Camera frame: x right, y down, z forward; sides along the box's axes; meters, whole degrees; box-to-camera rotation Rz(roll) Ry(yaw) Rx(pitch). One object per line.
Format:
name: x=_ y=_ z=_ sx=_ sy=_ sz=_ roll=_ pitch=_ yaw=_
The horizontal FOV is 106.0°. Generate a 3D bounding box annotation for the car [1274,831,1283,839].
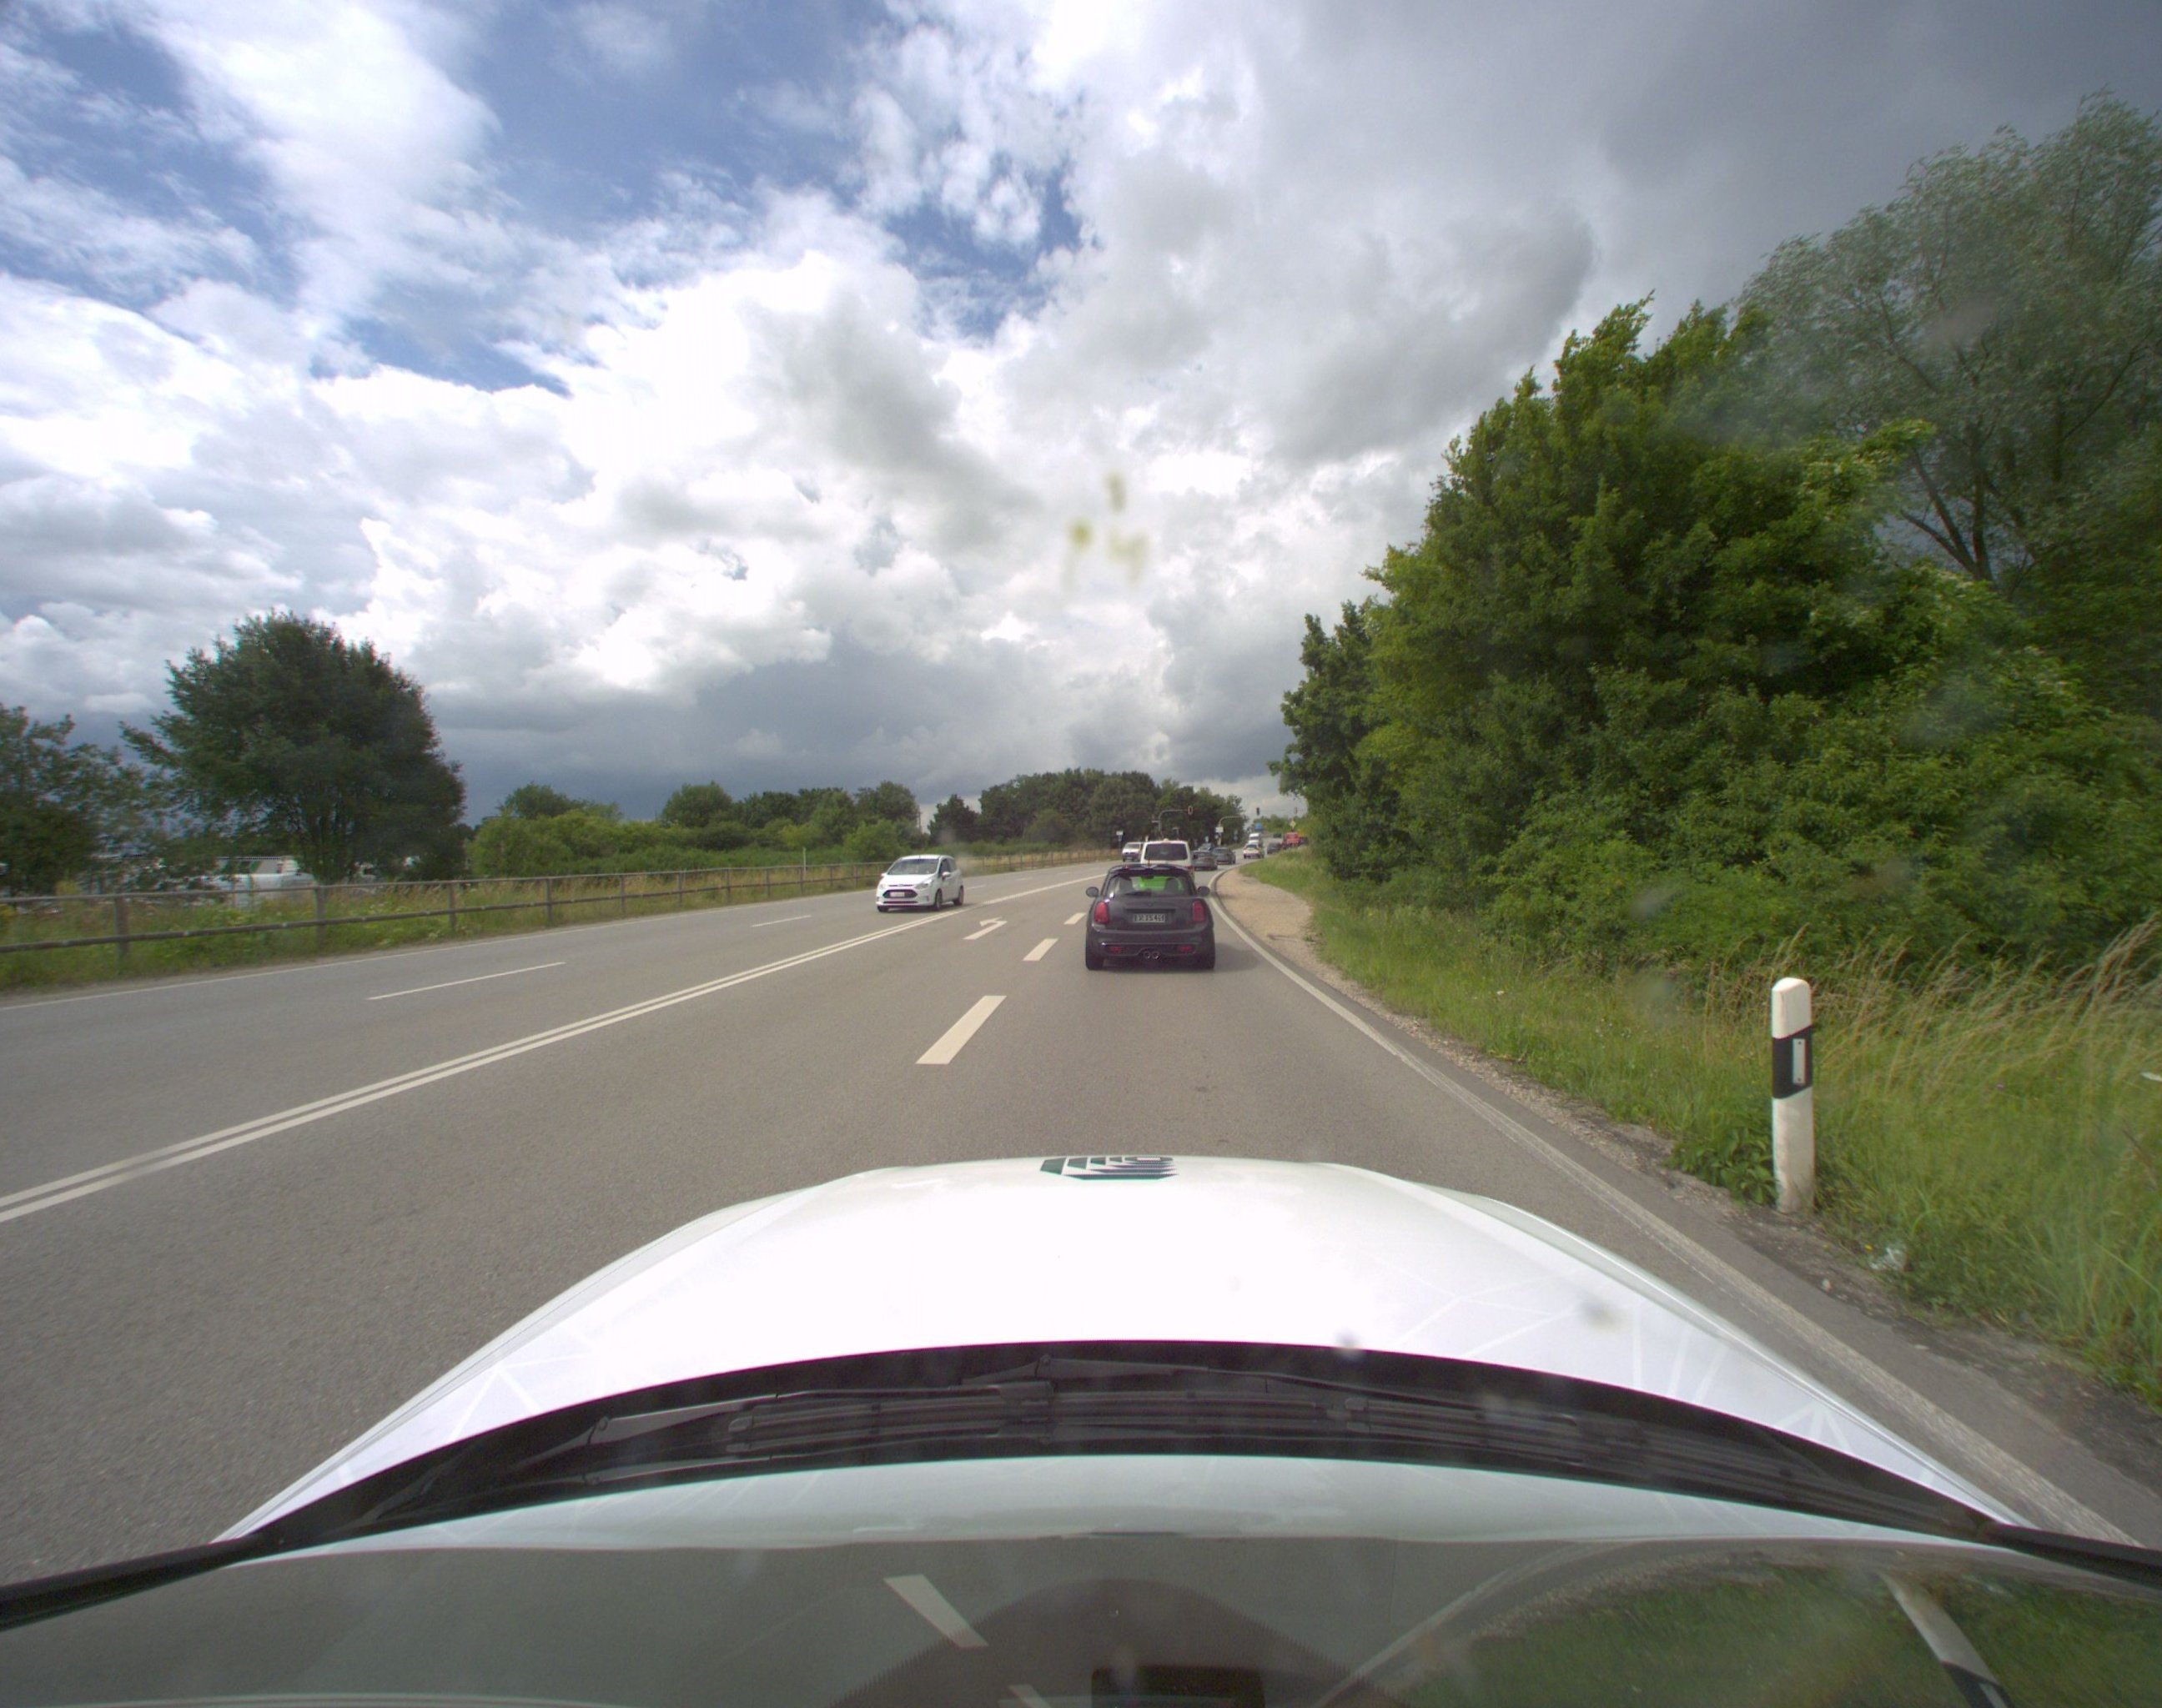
car: x=54.373 y=-5.292 z=224.387 sx=1.984 sy=2.014 sz=4.005 roll=0 pitch=-1 yaw=5

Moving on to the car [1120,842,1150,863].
car: x=5.627 y=-0.159 z=83.938 sx=1.978 sy=2.013 sz=4.688 roll=-1 pitch=0 yaw=17

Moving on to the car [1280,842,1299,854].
car: x=30.455 y=-0.930 z=118.859 sx=1.976 sy=1.695 sz=4.511 roll=-1 pitch=1 yaw=23

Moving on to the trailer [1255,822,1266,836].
trailer: x=54.096 y=-7.611 z=245.951 sx=2.507 sy=4.100 sz=6.767 roll=-1 pitch=1 yaw=18

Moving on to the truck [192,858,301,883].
truck: x=-70.370 y=1.385 z=68.880 sx=1.979 sy=2.014 sz=6.253 roll=-1 pitch=-1 yaw=14

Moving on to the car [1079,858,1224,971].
car: x=1.000 y=0.790 z=12.333 sx=1.837 sy=1.428 sz=3.844 roll=0 pitch=-1 yaw=3

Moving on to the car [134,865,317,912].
car: x=-33.376 y=1.313 z=31.934 sx=4.575 sy=1.734 sz=1.991 roll=0 pitch=0 yaw=-13

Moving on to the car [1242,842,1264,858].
car: x=18.598 y=-0.400 z=87.968 sx=1.978 sy=1.684 sz=4.017 roll=0 pitch=0 yaw=17

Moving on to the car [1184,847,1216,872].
car: x=8.330 y=0.414 z=57.235 sx=1.984 sy=1.684 sz=4.006 roll=0 pitch=0 yaw=5

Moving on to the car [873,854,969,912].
car: x=-4.554 y=0.768 z=23.712 sx=1.722 sy=1.518 sz=4.005 roll=0 pitch=0 yaw=4

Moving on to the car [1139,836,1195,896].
car: x=3.024 y=0.402 z=28.879 sx=1.836 sy=1.987 sz=3.846 roll=0 pitch=0 yaw=5

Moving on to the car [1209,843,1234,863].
car: x=12.370 y=-0.048 z=71.567 sx=1.981 sy=1.684 sz=3.989 roll=0 pitch=0 yaw=11

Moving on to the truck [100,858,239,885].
truck: x=-71.525 y=1.348 z=64.145 sx=1.979 sy=2.014 sz=7.160 roll=-1 pitch=-1 yaw=14

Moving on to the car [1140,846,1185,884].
car: x=3.848 y=0.492 z=38.368 sx=1.983 sy=1.684 sz=4.006 roll=-1 pitch=-1 yaw=6

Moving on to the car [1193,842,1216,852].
car: x=17.704 y=-1.033 z=116.508 sx=1.791 sy=1.441 sz=4.380 roll=-1 pitch=0 yaw=29

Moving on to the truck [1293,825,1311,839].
truck: x=47.156 y=-4.620 z=174.031 sx=2.700 sy=2.897 sz=8.795 roll=-1 pitch=1 yaw=9

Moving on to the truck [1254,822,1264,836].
truck: x=52.990 y=-7.554 z=242.552 sx=2.519 sy=4.096 sz=4.019 roll=-1 pitch=1 yaw=18

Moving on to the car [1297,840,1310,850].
car: x=37.217 y=-1.466 z=136.243 sx=1.978 sy=1.695 sz=4.505 roll=1 pitch=0 yaw=17

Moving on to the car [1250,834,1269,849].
car: x=33.690 y=-2.338 z=153.403 sx=2.413 sy=2.674 sz=6.925 roll=-1 pitch=1 yaw=21

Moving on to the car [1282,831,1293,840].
car: x=52.299 y=-4.631 z=206.376 sx=2.169 sy=2.014 sz=4.008 roll=-1 pitch=-1 yaw=7

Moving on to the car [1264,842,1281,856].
car: x=24.197 y=-0.591 z=102.647 sx=1.979 sy=1.684 sz=4.015 roll=0 pitch=0 yaw=14
